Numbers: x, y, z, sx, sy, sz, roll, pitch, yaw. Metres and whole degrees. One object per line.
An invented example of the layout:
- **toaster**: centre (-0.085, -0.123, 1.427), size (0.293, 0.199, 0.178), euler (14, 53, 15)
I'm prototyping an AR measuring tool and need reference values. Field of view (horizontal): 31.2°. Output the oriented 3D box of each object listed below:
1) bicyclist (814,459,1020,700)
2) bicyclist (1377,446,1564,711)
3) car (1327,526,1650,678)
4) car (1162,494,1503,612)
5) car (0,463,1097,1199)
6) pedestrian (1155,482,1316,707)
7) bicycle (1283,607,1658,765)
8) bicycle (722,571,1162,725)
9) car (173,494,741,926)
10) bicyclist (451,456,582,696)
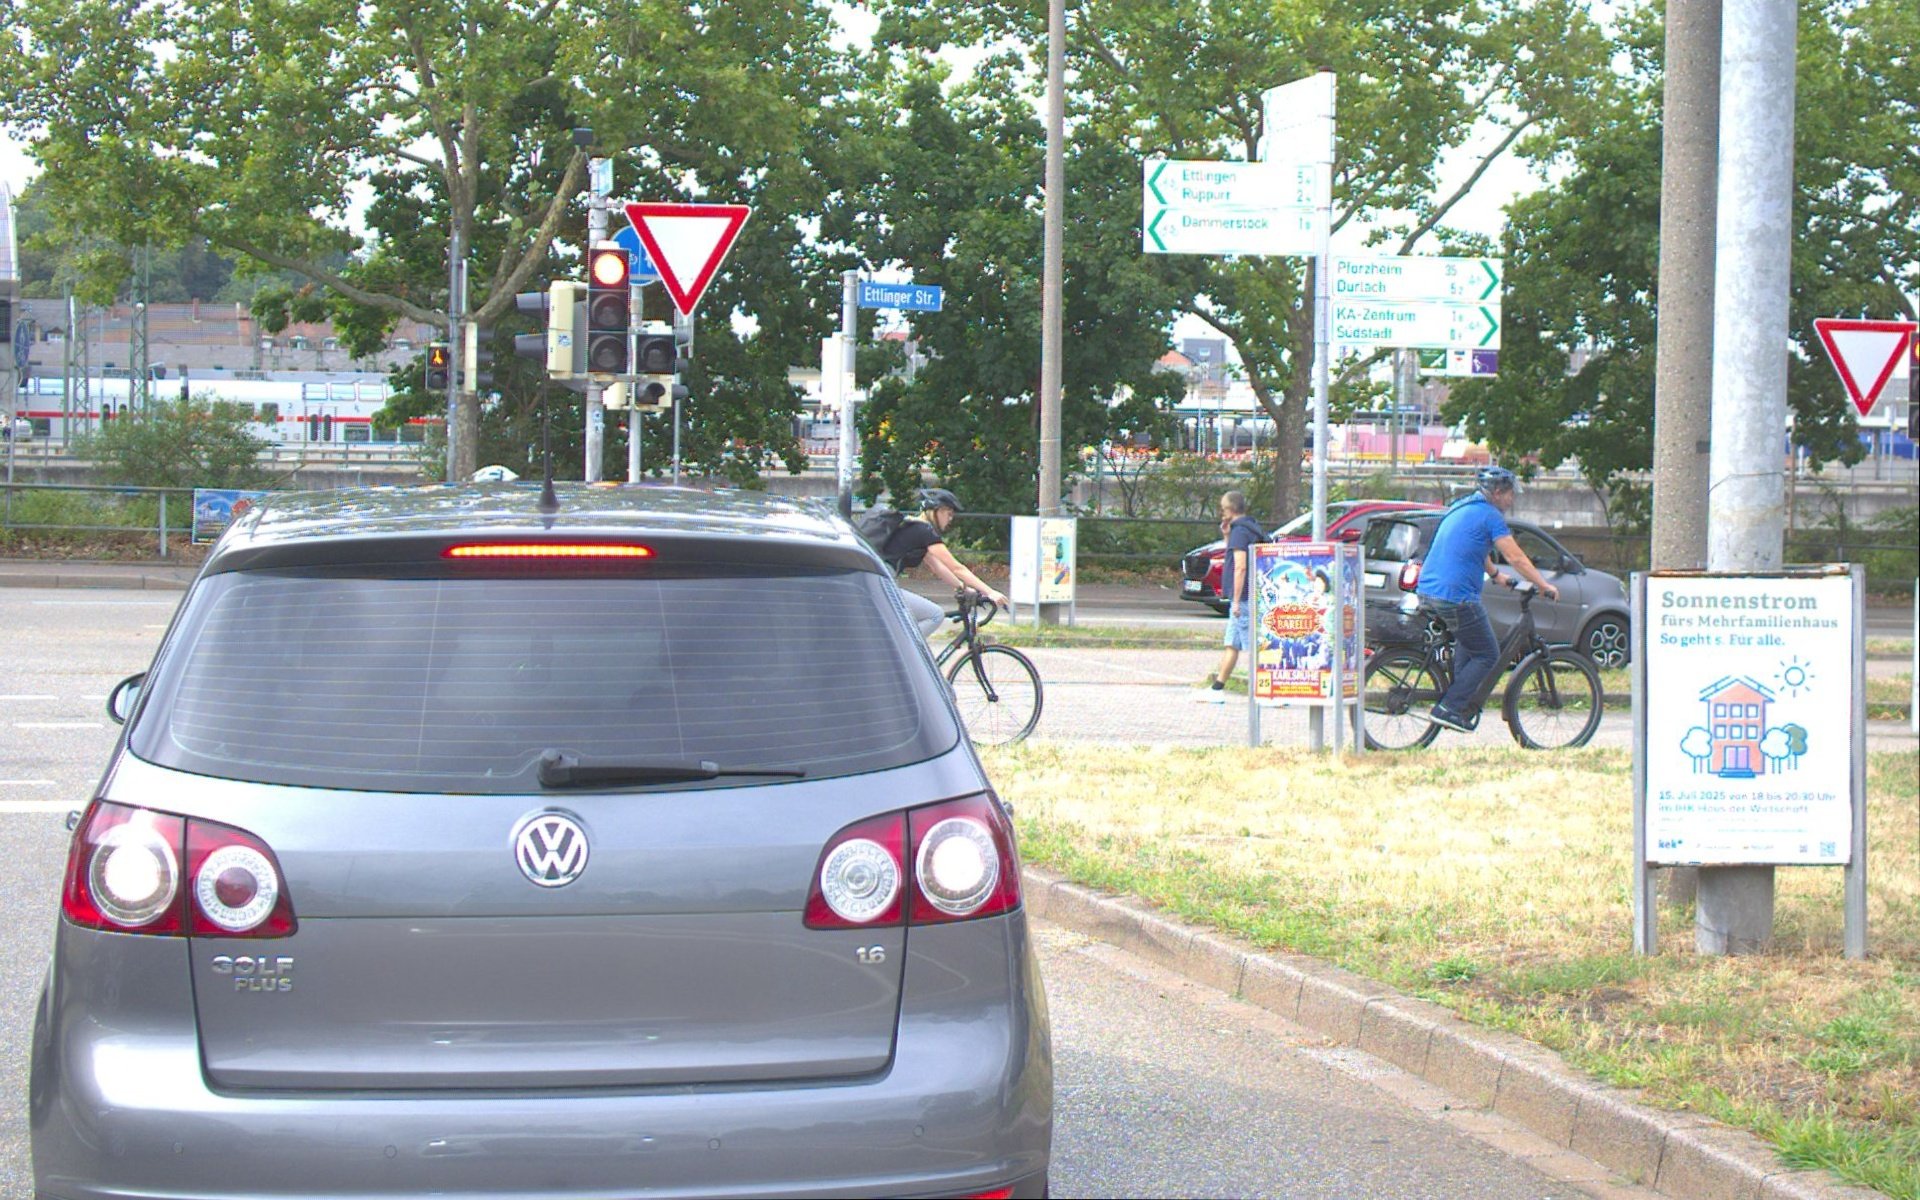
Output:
- **bicyclist**: centre (-0.270, -0.133, 20.948), size (1.113, 1.431, 0.648), euler (0, 2, -15)
- **bicyclist**: centre (3.251, -0.145, 21.923), size (0.880, 1.650, 0.812), euler (0, 2, -19)
- **car**: centre (5.155, 0.007, 33.595), size (2.710, 1.417, 1.500), euler (0, 2, -21)
- **car**: centre (4.739, -0.599, 43.769), size (3.950, 1.443, 1.703), euler (0, 2, -20)
- **car**: centre (-0.954, 0.523, 7.241), size (1.740, 1.541, 4.083), euler (1, 1, -8)
- **pedestrian**: centre (2.177, -0.056, 27.073), size (1.048, 1.704, 0.853), euler (2, 2, 17)
- **bicycle**: centre (3.253, 0.531, 21.926), size (2.227, 0.949, 0.812), euler (0, 2, -19)
- **bicycle**: centre (-0.112, 0.290, 21.010), size (2.583, 0.887, 0.705), euler (0, 2, -15)
- **car**: centre (-2.186, 0.329, 13.957), size (1.740, 1.477, 4.083), euler (0, 1, -16)
- **bicyclist**: centre (-2.965, -0.166, 22.944), size (0.779, 1.575, 0.655), euler (0, 2, -14)
